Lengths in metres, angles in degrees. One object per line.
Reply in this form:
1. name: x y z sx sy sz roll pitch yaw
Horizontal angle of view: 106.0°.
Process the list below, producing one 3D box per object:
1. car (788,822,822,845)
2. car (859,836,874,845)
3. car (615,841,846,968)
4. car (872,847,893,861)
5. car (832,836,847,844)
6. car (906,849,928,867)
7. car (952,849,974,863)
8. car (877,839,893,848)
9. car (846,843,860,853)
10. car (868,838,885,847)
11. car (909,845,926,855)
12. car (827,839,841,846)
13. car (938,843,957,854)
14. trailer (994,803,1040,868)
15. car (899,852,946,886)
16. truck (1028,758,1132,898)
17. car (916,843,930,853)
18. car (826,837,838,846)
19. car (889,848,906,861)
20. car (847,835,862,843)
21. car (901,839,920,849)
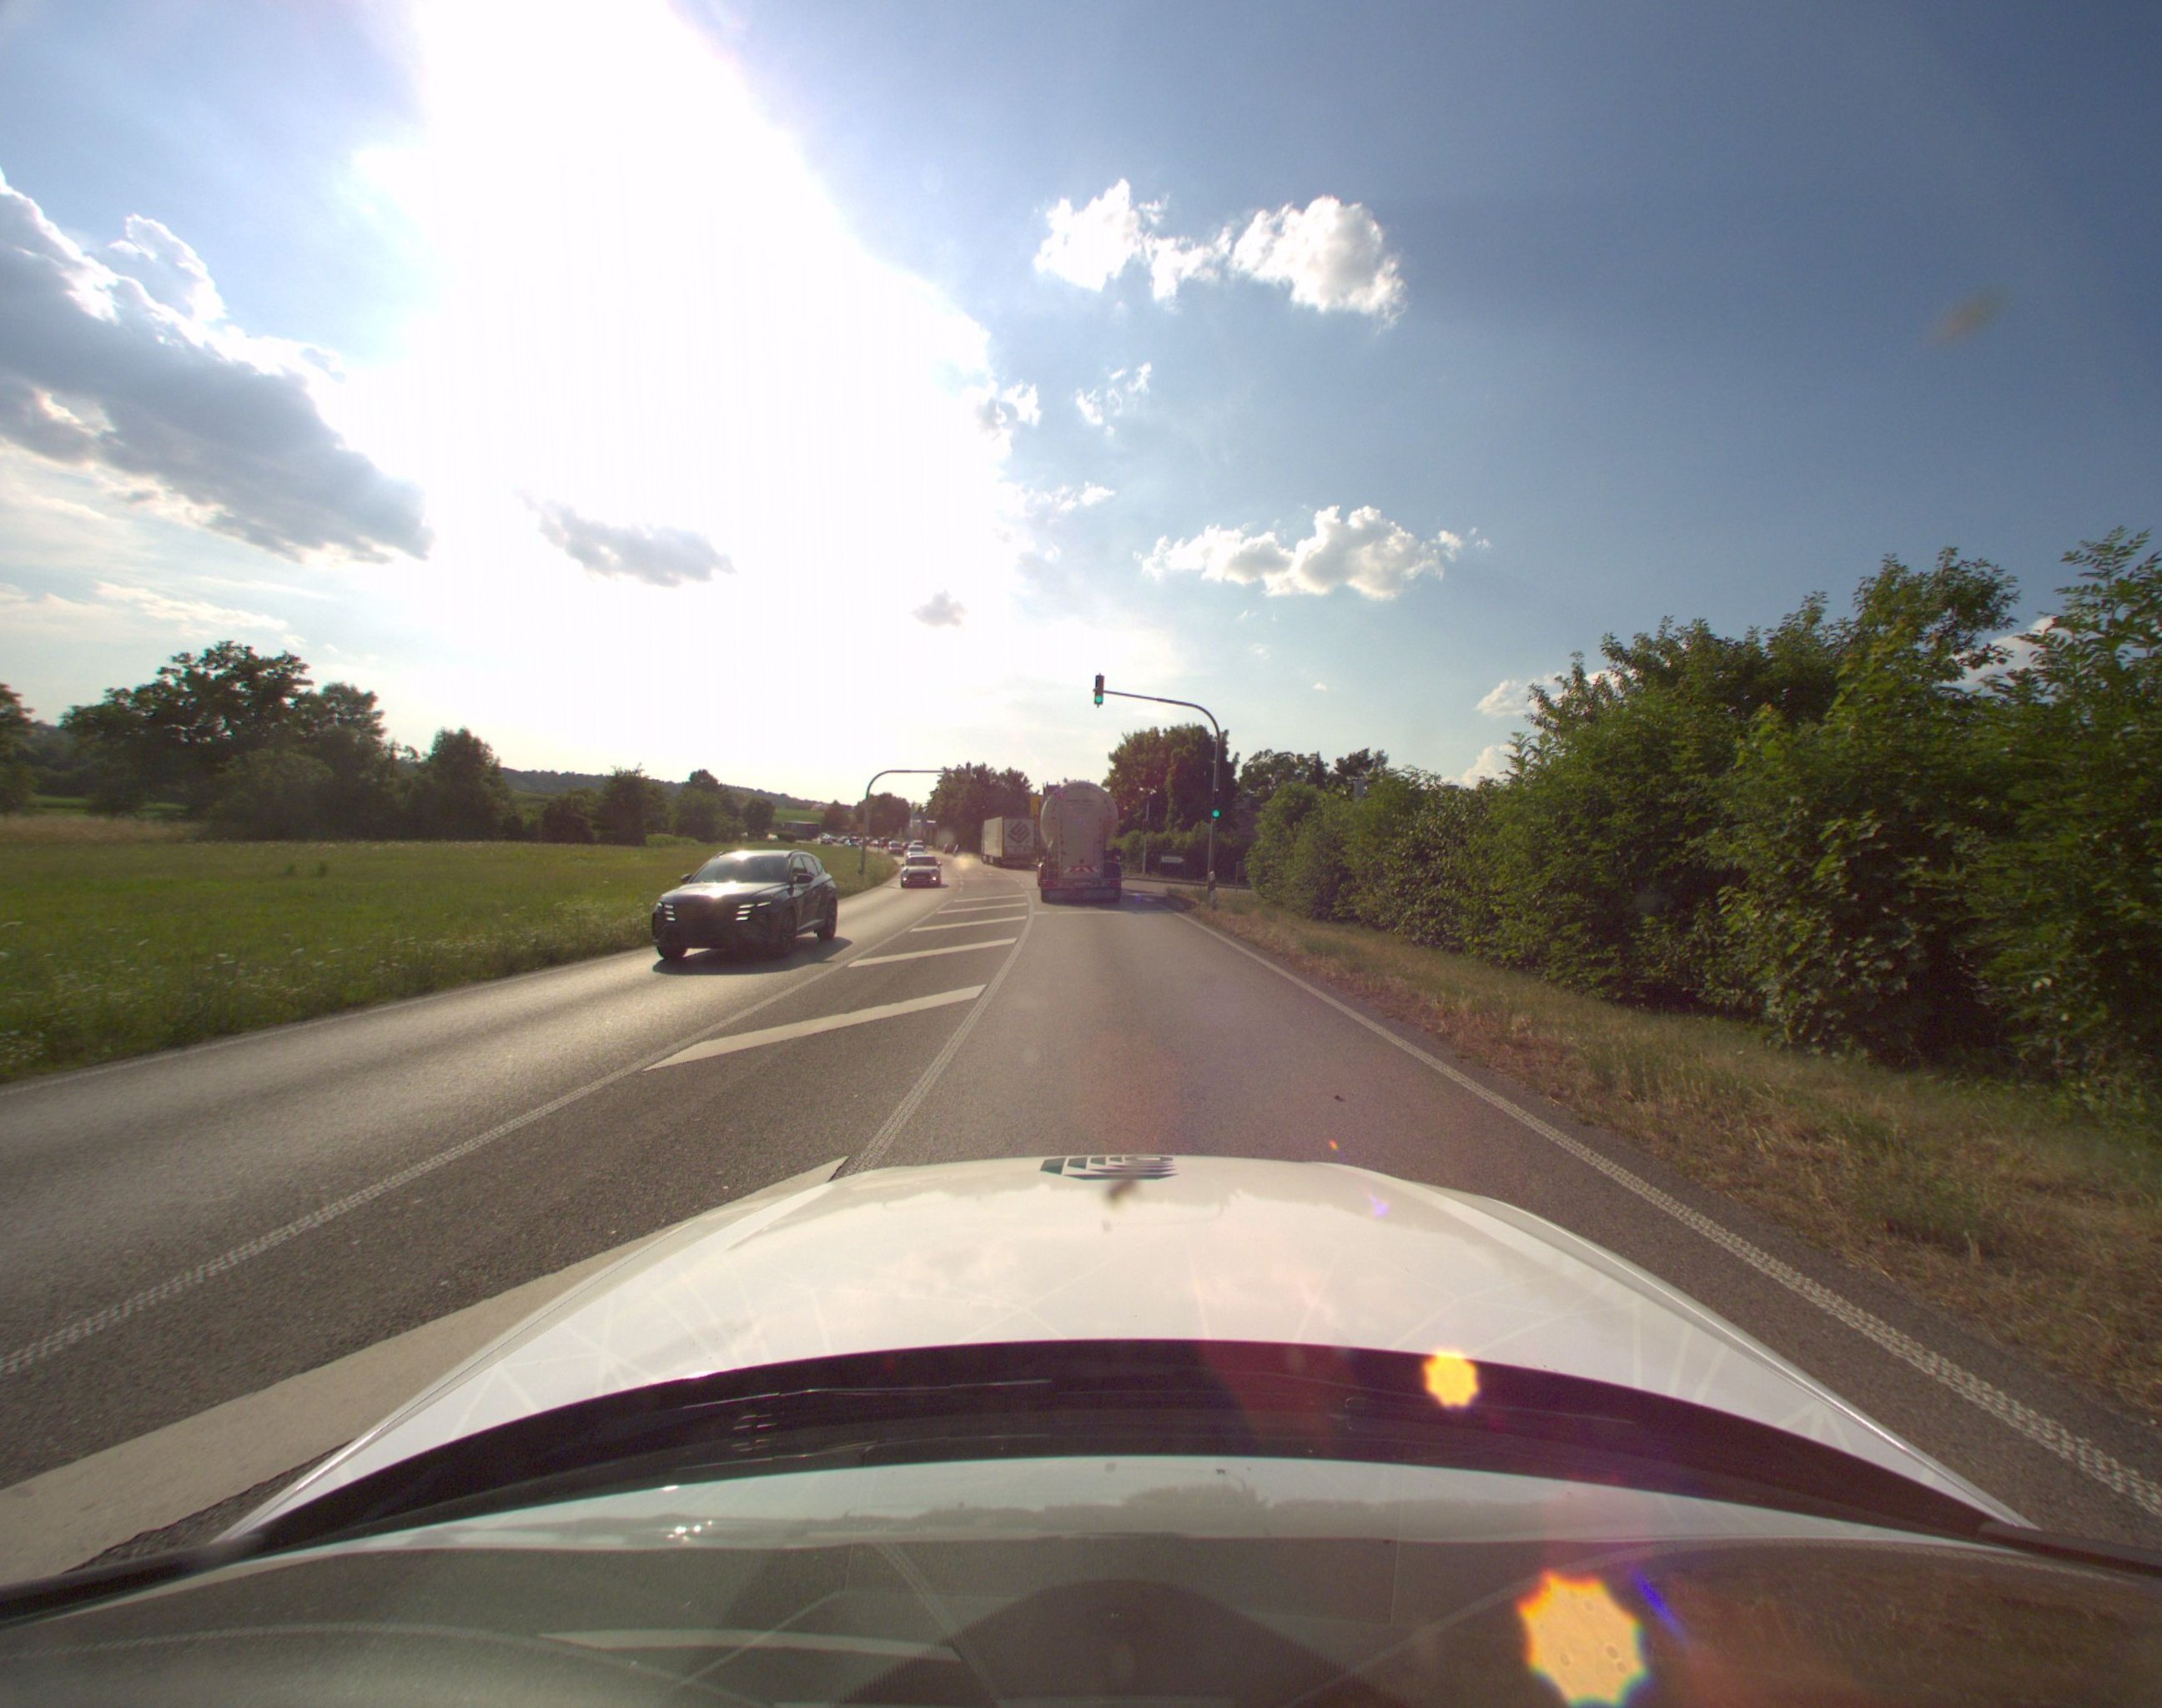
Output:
1. car: -64.955 -4.792 191.576 3.568 5.059 13.097 1 0 -36
2. car: -42.092 -2.622 159.505 1.893 1.599 3.962 1 0 -30
3. car: -5.431 0.668 13.367 1.988 1.725 4.423 1 1 -2
4. car: -23.250 -0.006 95.476 1.888 1.599 3.972 1 0 -21
5. car: -50.888 -2.981 171.478 1.894 1.599 3.960 1 0 -32
6. car: -15.419 0.379 76.328 1.884 1.599 3.981 1 0 -14
7. car: -15.083 0.288 103.672 2.000 1.656 3.974 1 -1 -19
8. car: -35.247 -1.939 146.503 1.893 1.599 3.964 1 0 -28
9. car: -39.251 -1.012 140.182 1.889 1.599 3.972 1 0 -21
10. car: -38.435 -2.163 153.272 2.097 1.599 3.963 1 0 -29
11. car: -25.316 -0.643 125.993 1.889 1.599 3.971 1 0 -22
12. car: -53.751 -2.534 177.211 1.895 1.599 3.959 1 0 -33
13. car: -19.620 -0.777 119.437 1.691 1.468 3.968 1 -1 -24
14. trailer: -5.388 -1.321 66.796 2.963 4.882 10.254 1 -1 -9
15. car: -7.204 0.665 37.246 1.717 1.436 3.742 -1 0 -5
16. truck: -0.406 -0.677 30.330 2.970 4.176 11.642 1 -1 -4
17. car: -27.755 -1.029 142.960 1.847 1.656 3.972 1 -1 -20
18. car: -48.472 -2.367 158.290 1.889 1.599 3.972 1 0 -21
19. car: -23.182 0.041 102.646 1.885 1.599 3.979 1 0 -16
20. car: -45.777 -3.005 164.873 1.894 1.599 3.960 1 0 -31
21. car: -28.019 -1.641 133.661 2.096 1.599 3.965 1 0 -27
